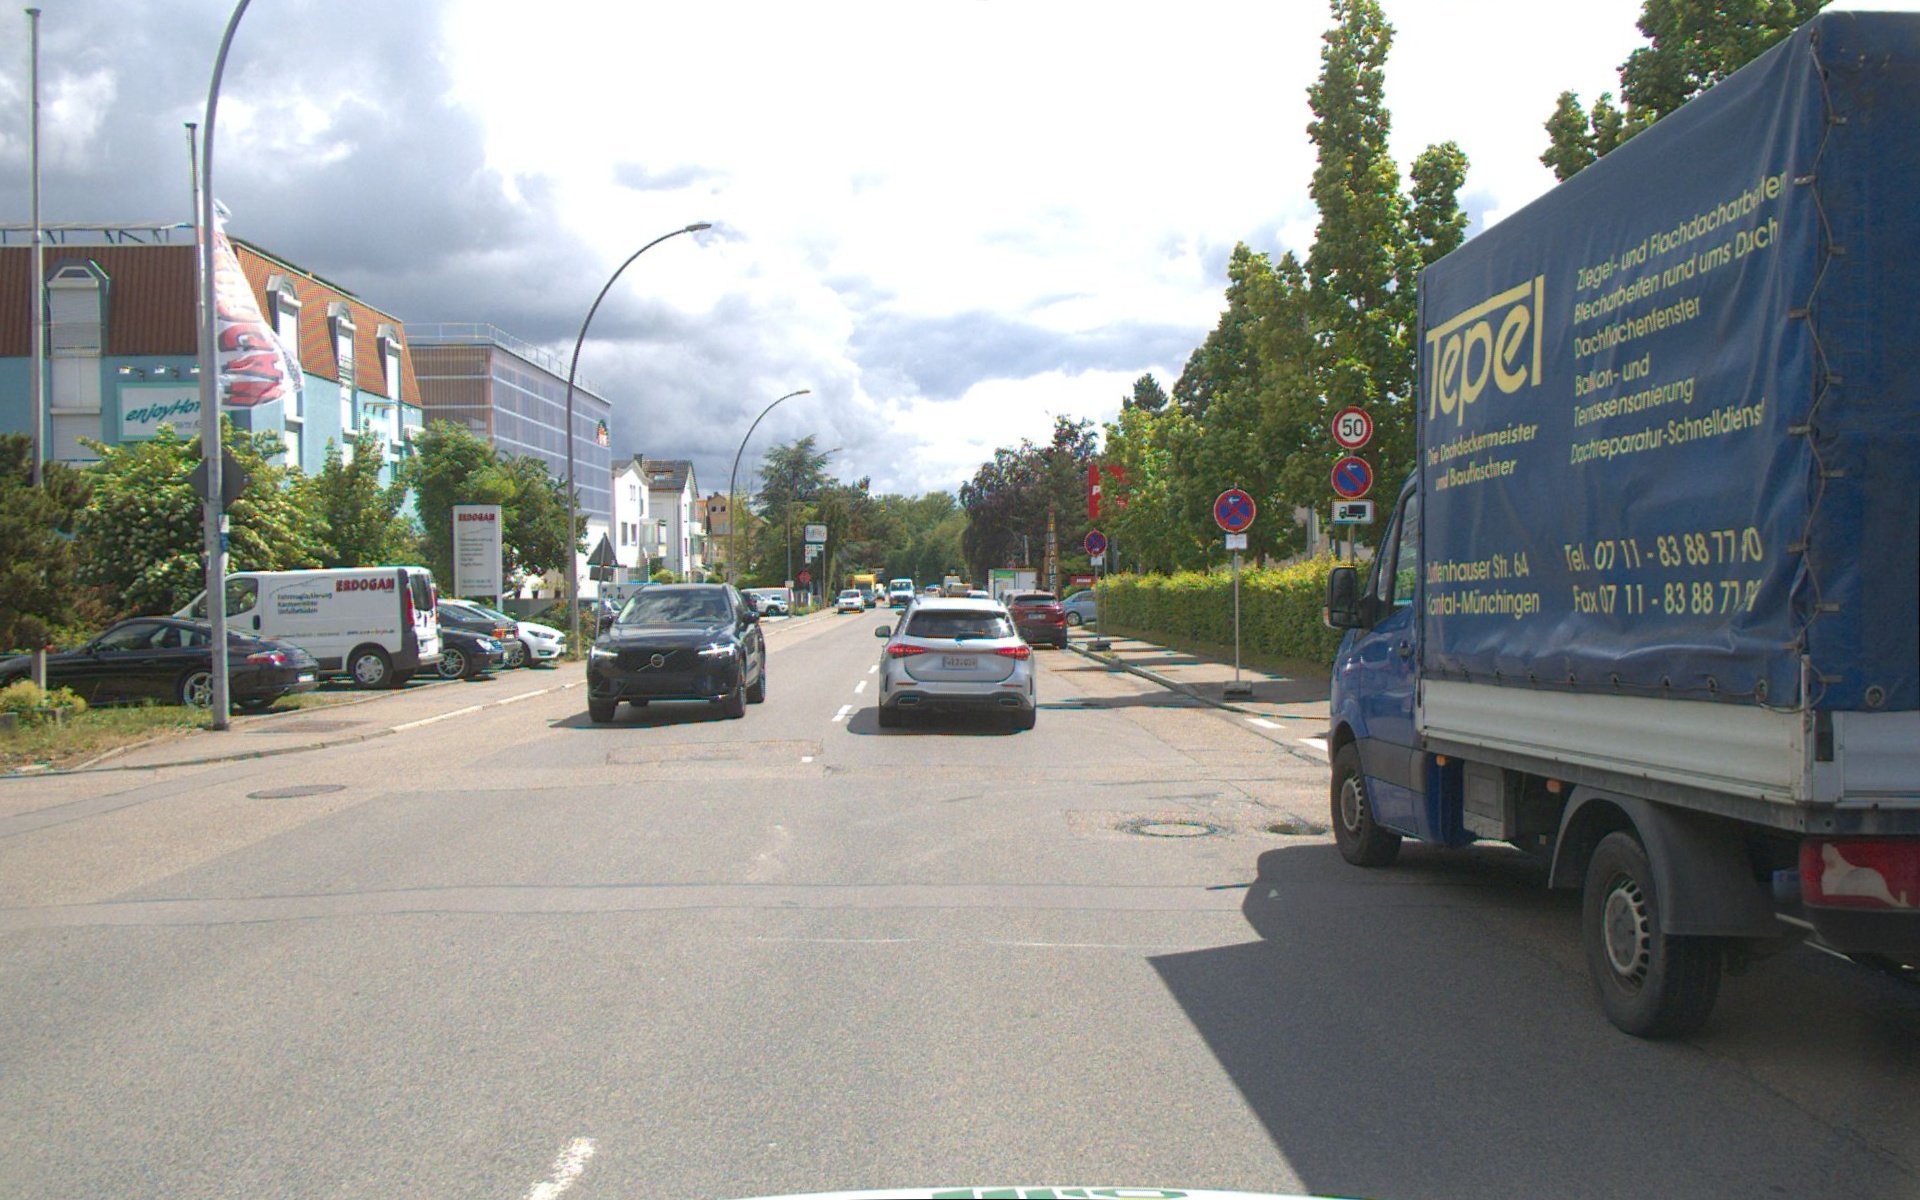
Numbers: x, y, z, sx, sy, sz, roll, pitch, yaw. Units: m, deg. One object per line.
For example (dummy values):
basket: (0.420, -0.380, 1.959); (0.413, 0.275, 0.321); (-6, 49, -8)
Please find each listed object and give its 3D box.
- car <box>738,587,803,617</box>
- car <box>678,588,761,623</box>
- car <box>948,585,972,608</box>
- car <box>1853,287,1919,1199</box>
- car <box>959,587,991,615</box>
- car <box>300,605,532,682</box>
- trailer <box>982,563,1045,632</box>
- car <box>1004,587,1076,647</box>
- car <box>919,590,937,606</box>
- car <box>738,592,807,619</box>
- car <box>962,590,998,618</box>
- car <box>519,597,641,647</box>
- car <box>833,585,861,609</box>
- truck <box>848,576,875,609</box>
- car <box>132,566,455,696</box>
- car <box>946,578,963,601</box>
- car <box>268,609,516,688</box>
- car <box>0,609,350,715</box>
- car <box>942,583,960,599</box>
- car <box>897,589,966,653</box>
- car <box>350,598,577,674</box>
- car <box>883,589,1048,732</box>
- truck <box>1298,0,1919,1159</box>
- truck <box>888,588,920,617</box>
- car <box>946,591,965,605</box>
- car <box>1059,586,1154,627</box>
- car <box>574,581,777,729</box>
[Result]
car: (-12.872, 0.167, 112.663); (4.193, 1.868, 1.990); (-1, -3, -3)
car: (-13.918, 0.317, 96.026); (4.537, 1.661, 2.196); (-4, 1, -5)
car: (0.006, -0.351, 153.690); (2.100, 2.018, 5.260); (-1, 0, -1)
car: (3.207, 0.399, 1.939); (1.835, 2.207, 4.464); (1, 1, -1)
car: (0.895, 0.055, 100.628); (1.756, 1.579, 4.572); (-2, 1, -2)
car: (-10.656, 0.836, 32.588); (3.904, 1.379, 1.872); (-1, 1, 1)
trailer: (1.861, -0.094, 58.927); (1.903, 2.334, 4.443); (-1, 0, -2)
car: (2.257, 0.457, 47.712); (1.901, 1.599, 4.446); (-1, 1, 1)
car: (-3.281, -0.251, 169.261); (1.720, 1.585, 3.999); (-1, 1, -2)
car: (-12.138, 0.365, 107.294); (4.192, 1.594, 1.990); (-1, -3, -1)
car: (1.125, 0.195, 94.787); (1.756, 1.475, 4.360); (-2, 1, -3)
car: (-12.610, 0.710, 55.010); (3.553, 1.559, 1.980); (-1, 0, 1)
car: (-8.026, -0.243, 117.974); (1.755, 1.631, 4.362); (-2, 1, -1)
truck: (-9.000, -0.748, 151.816); (2.032, 2.863, 7.078); (-2, 1, 0)
car: (-11.090, 0.485, 27.816); (4.560, 2.006, 2.113); (-1, 1, -5)
car: (-0.601, -1.190, 191.136); (1.749, 2.562, 4.314); (0, 0, -3)
car: (-10.355, 0.867, 30.360); (3.907, 1.338, 1.870); (-1, 0, -3)
car: (-10.475, 0.804, 22.133); (3.907, 1.225, 1.870); (1, 1, -3)
car: (-0.972, -0.957, 178.730); (1.749, 1.745, 4.314); (0, 0, -3)
car: (-0.767, 0.513, 43.460); (1.720, 1.585, 3.999); (-1, 1, -2)
car: (-10.590, 0.764, 35.500); (4.286, 1.504, 1.871); (-1, -1, -1)
car: (-0.035, 0.638, 19.895); (1.749, 1.510, 4.314); (0, 1, -3)
truck: (3.338, -0.119, 7.397); (2.273, 3.151, 6.041); (1, 1, -1)
truck: (-4.578, 0.137, 135.303); (2.271, 2.216, 6.449); (-2, 1, 1)
car: (-0.504, -0.191, 172.335); (1.749, 1.510, 4.314); (0, 0, -3)
car: (6.262, 0.260, 70.439); (3.902, 1.624, 2.002); (2, 1, 9)
car: (-3.548, 0.616, 21.433); (1.953, 1.644, 4.409); (-2, 1, -2)
